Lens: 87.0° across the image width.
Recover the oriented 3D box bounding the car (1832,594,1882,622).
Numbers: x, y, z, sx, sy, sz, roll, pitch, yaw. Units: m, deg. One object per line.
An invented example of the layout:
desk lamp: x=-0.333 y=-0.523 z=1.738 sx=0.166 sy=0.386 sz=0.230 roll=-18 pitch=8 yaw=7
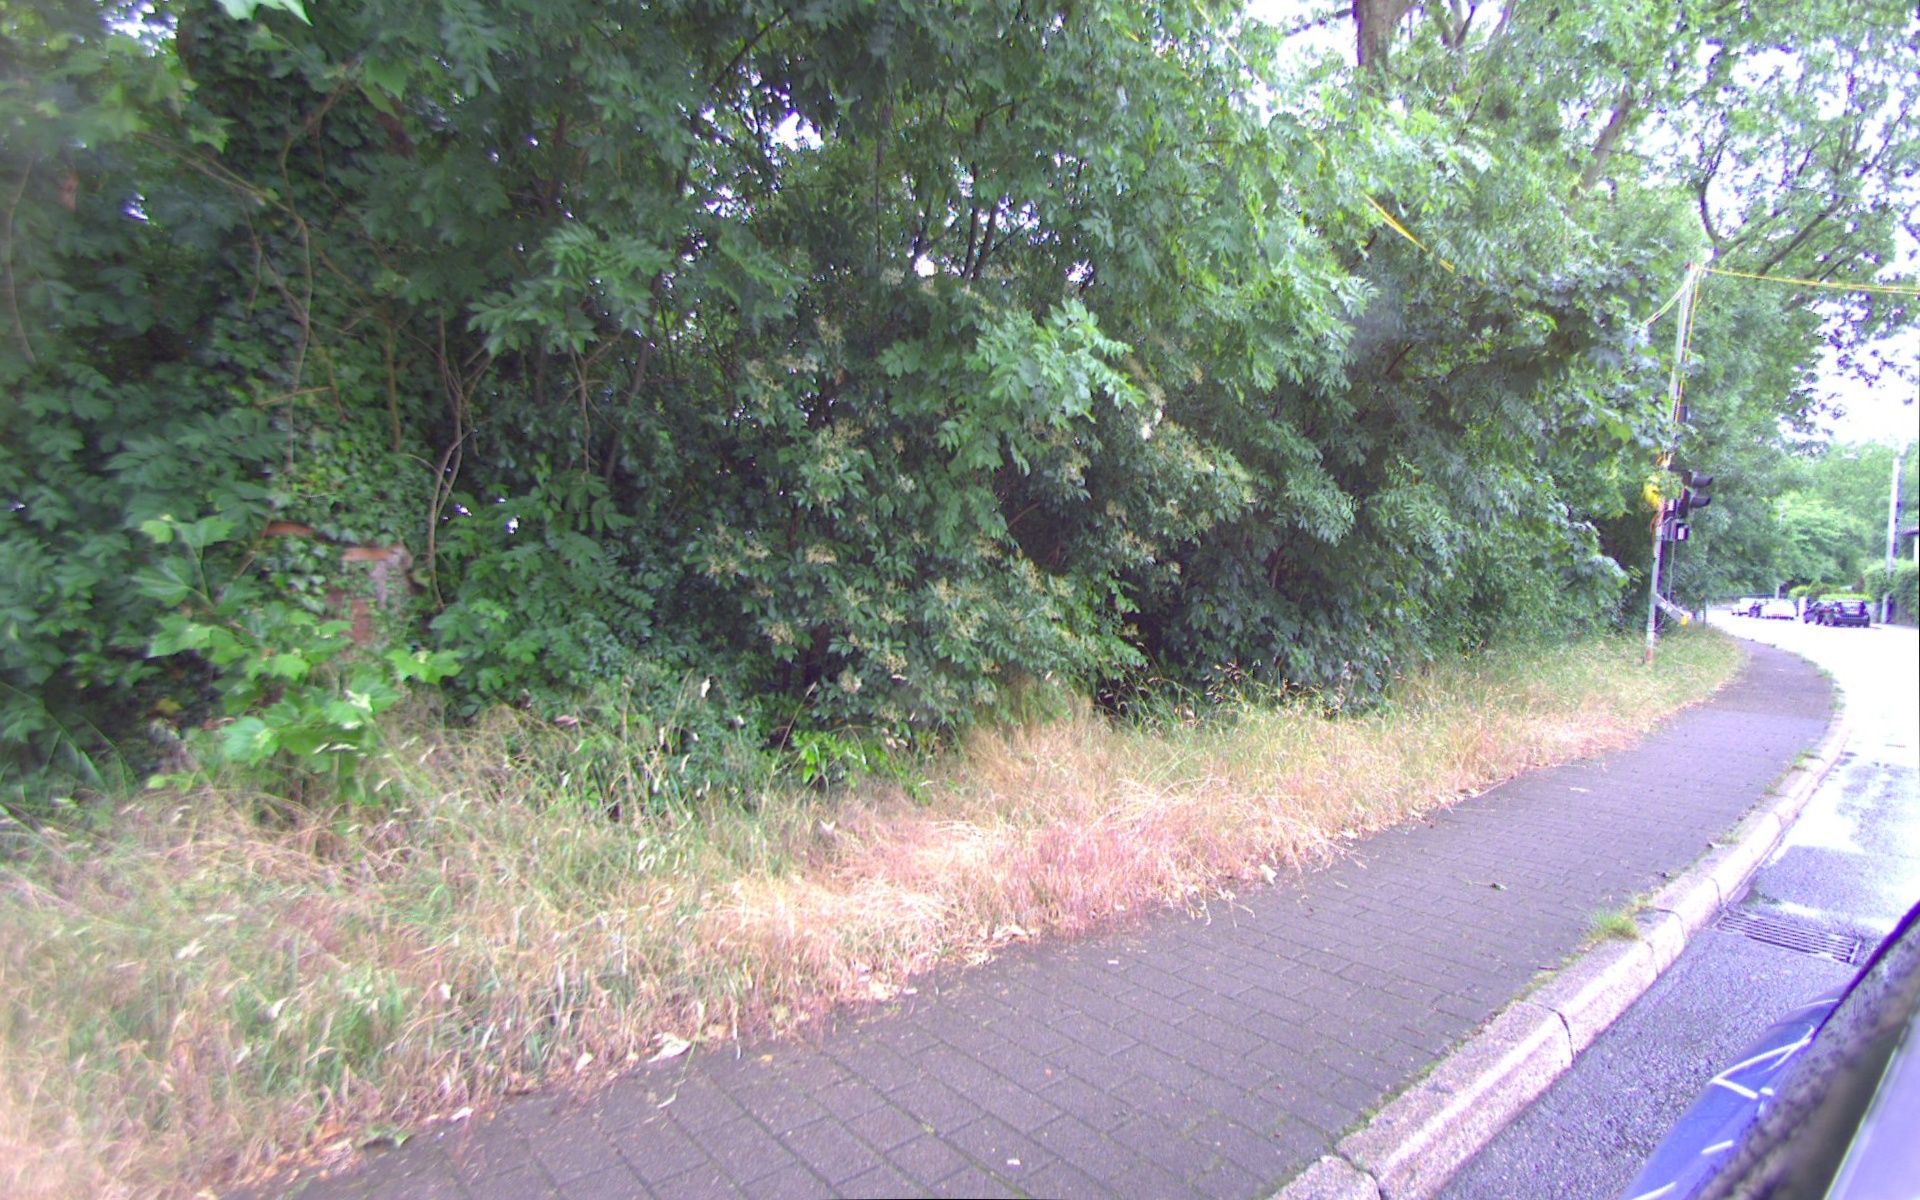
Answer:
car: x=50.798 y=0.449 z=57.355 sx=1.512 sy=1.472 sz=2.996 roll=4 pitch=2 yaw=31

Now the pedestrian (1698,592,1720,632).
pedestrian: x=31.429 y=0.507 z=42.468 sx=0.638 sy=1.631 sz=0.663 roll=2 pitch=2 yaw=30

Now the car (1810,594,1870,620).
car: x=52.708 y=0.405 z=60.684 sx=1.678 sy=1.435 sz=4.175 roll=3 pitch=2 yaw=27

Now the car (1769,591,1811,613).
car: x=60.414 y=0.099 z=73.735 sx=1.688 sy=1.486 sz=3.674 roll=2 pitch=1 yaw=29

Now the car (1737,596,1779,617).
car: x=64.934 y=0.496 z=82.392 sx=1.721 sy=1.439 sz=4.246 roll=-3 pitch=1 yaw=26
